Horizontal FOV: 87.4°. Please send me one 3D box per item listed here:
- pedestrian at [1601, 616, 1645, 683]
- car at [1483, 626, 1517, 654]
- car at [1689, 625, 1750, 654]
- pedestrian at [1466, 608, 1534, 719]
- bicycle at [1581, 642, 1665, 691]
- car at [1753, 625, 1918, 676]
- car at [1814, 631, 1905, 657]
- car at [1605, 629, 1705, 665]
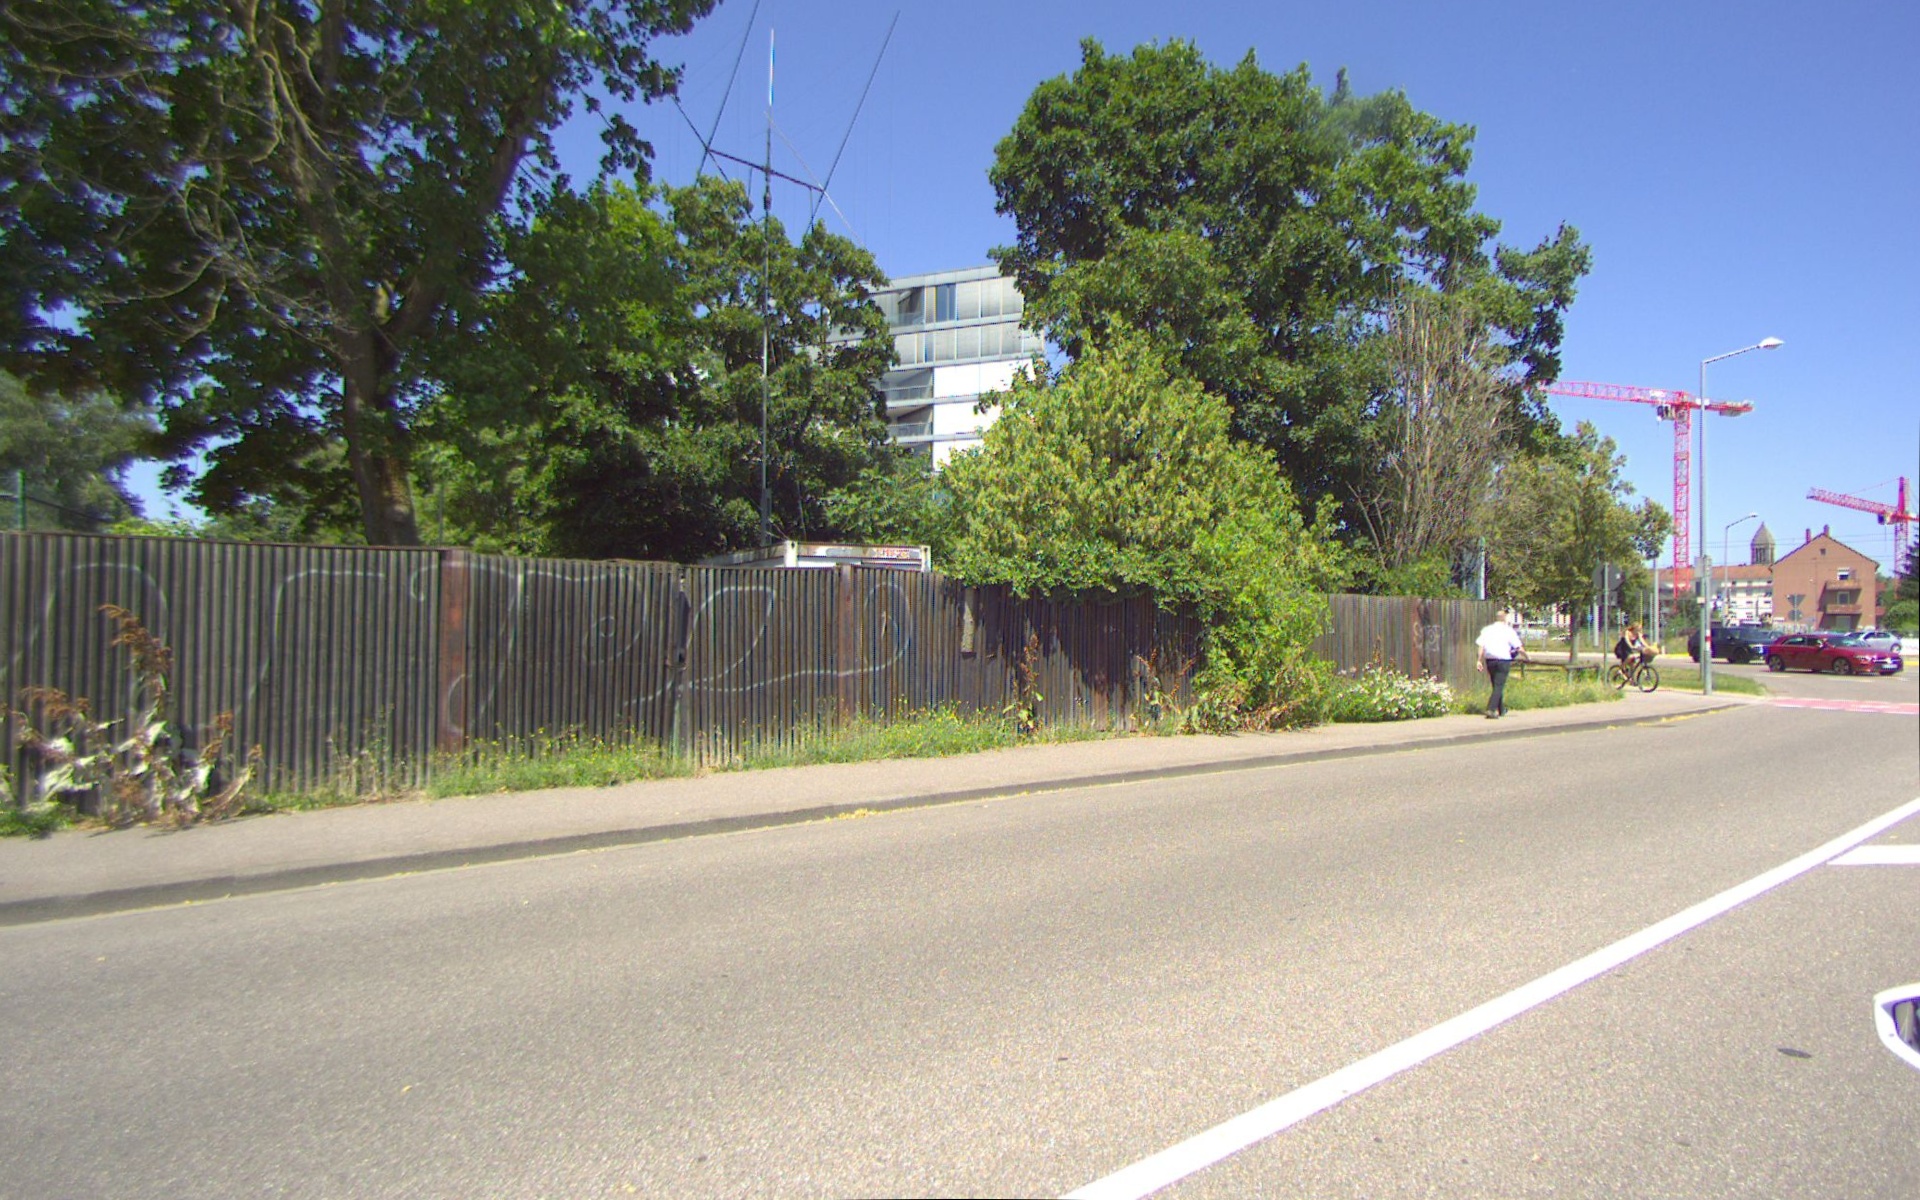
[{"bbox_3d":[17.271,1.286,26.160,0.566,1.714,0.731,2,0,-20],"label":"pedestrian"},{"bbox_3d":[32.015,2.353,59.571,1.696,1.572,4.337,-1,-1,28],"label":"car"},{"bbox_3d":[42.131,2.153,55.704,3.837,1.547,1.763,1,-2,-37],"label":"car"},{"bbox_3d":[9.141,1.061,16.999,0.960,1.810,0.631,2,0,-38],"label":"pedestrian"},{"bbox_3d":[17.254,1.713,26.176,0.604,1.247,1.841,2,-3,-19],"label":"bicycle"},{"bbox_3d":[31.329,1.762,36.147,1.961,1.547,4.418,2,0,-2],"label":"car"},{"bbox_3d":[55.764,2.695,62.291,4.188,1.421,1.732,2,0,-3],"label":"car"},{"bbox_3d":[36.160,2.427,52.382,1.961,1.616,4.417,2,0,-3],"label":"car"}]
